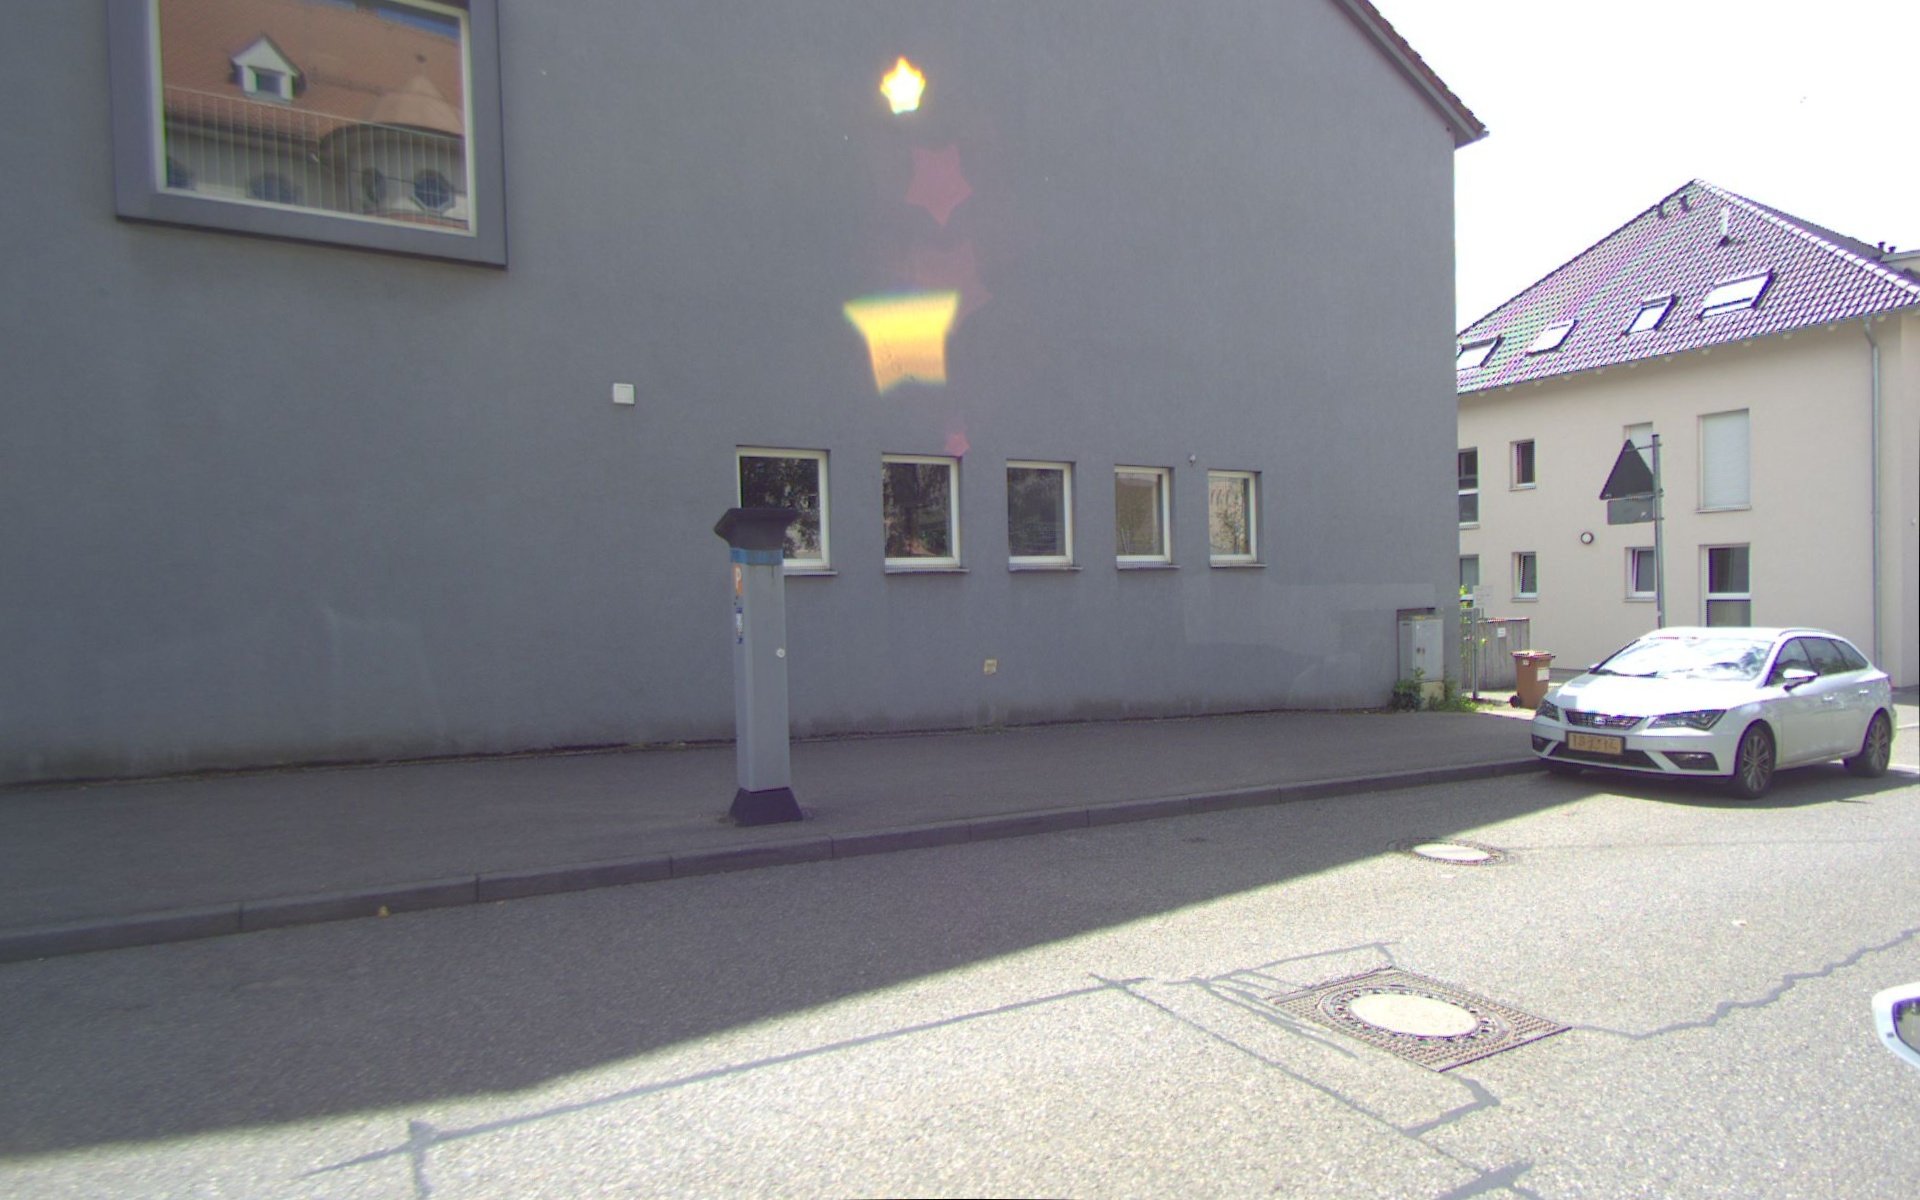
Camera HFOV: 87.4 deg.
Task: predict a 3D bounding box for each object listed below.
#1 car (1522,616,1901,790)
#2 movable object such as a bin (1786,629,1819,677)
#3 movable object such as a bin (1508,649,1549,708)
[{"bbox_3d":[7.571,0.889,10.062,3.820,1.409,1.689,1,0,-30],"label":"car"},{"bbox_3d":[17.225,1.079,20.535,0.387,0.966,0.411,0,0,-33],"label":"movable object such as a bin"},{"bbox_3d":[9.393,1.293,16.599,0.395,0.941,0.452,1,-1,-31],"label":"movable object such as a bin"}]
